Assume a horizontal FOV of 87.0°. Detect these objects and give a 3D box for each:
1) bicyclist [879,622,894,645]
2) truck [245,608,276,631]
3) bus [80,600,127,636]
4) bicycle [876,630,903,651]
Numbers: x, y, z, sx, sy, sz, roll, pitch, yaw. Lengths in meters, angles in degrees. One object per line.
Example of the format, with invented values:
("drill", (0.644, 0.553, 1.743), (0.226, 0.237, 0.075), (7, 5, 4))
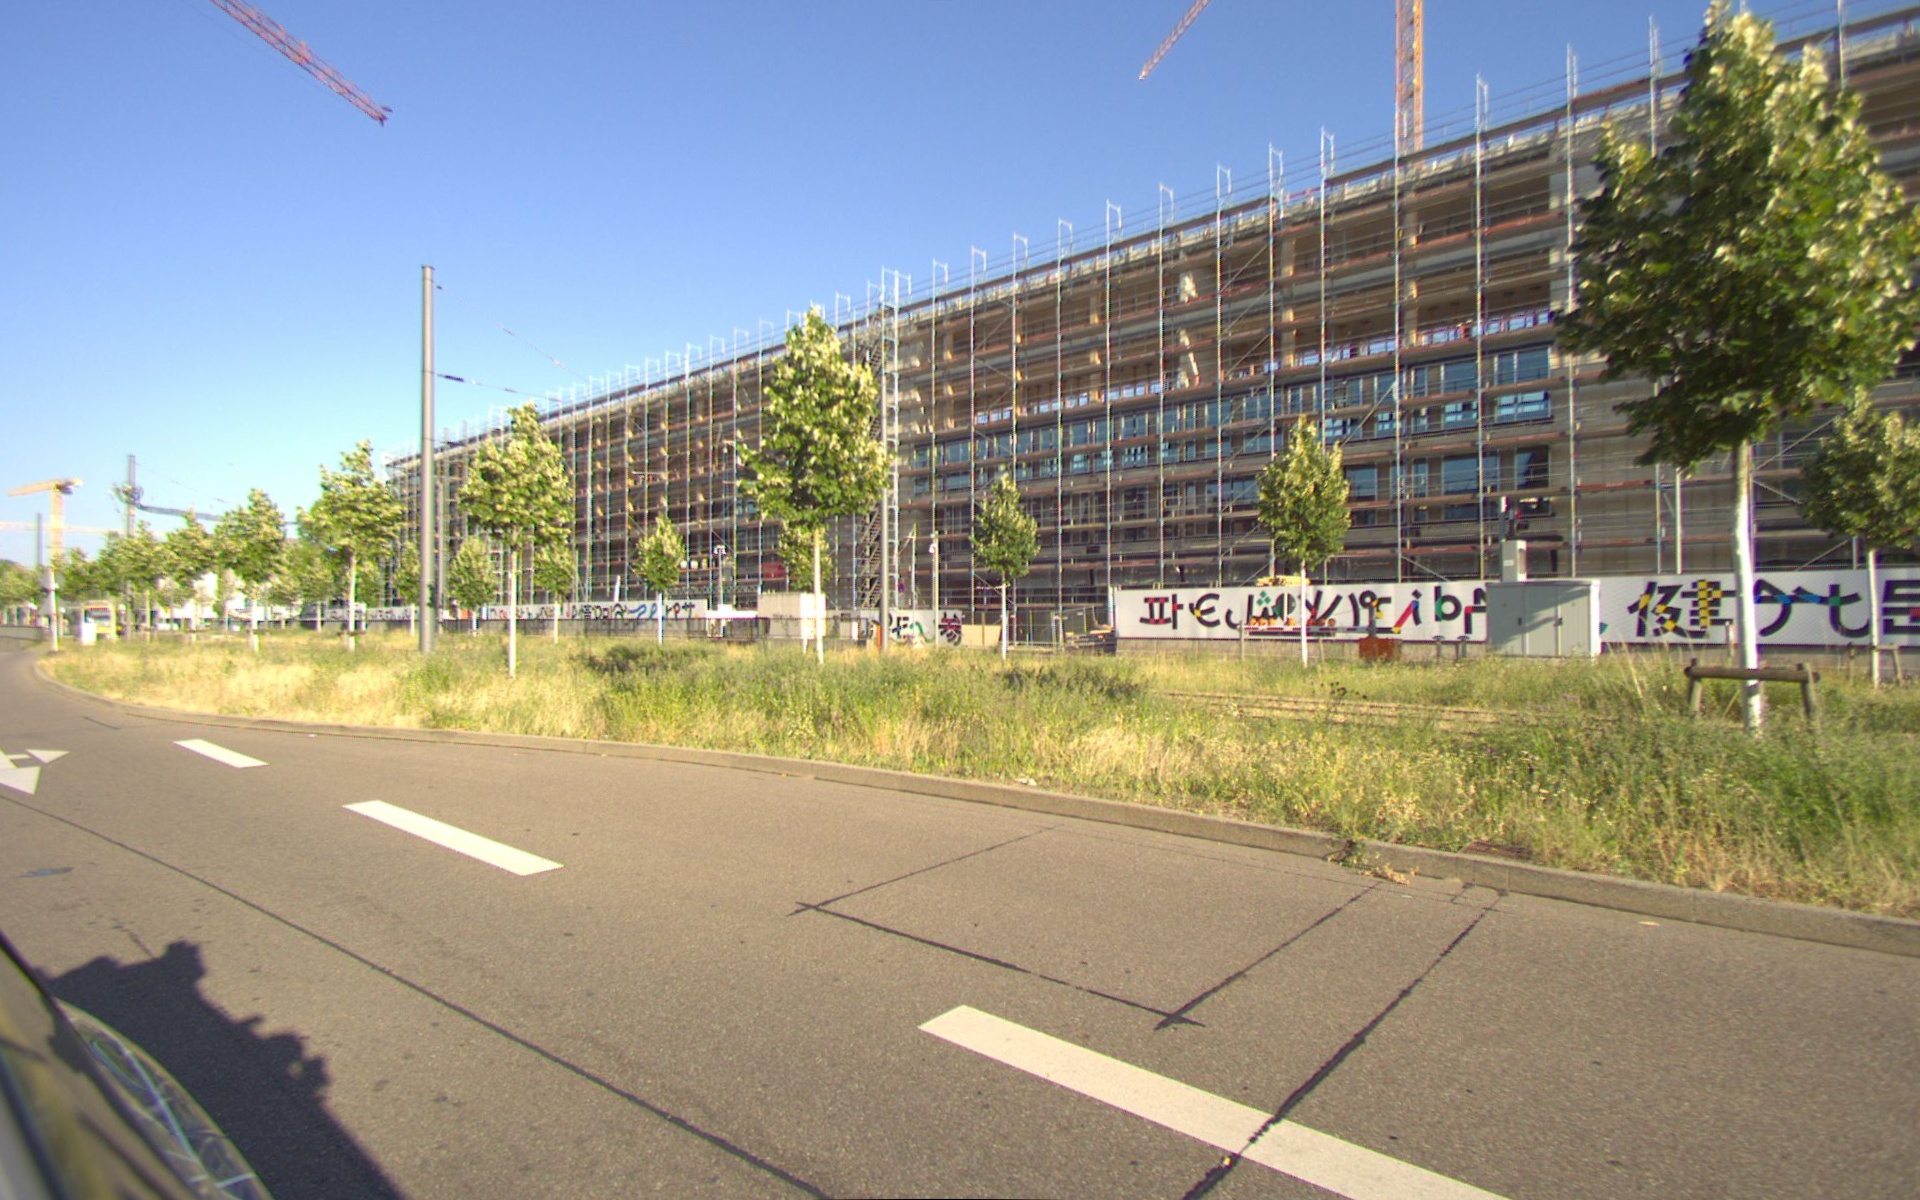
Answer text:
("bicyclist", (-3.809, 1.744, 52.643), (0.638, 1.162, 0.473), (-2, -2, 42))
("truck", (-80.442, 2.295, 116.370), (4.741, 2.593, 2.114), (-2, -2, 44))
("bus", (-81.670, 1.765, 96.412), (2.686, 3.247, 8.660), (1, -2, -45))
("bicycle", (-3.676, 2.106, 52.548), (1.564, 1.069, 0.473), (-2, -2, 43))
